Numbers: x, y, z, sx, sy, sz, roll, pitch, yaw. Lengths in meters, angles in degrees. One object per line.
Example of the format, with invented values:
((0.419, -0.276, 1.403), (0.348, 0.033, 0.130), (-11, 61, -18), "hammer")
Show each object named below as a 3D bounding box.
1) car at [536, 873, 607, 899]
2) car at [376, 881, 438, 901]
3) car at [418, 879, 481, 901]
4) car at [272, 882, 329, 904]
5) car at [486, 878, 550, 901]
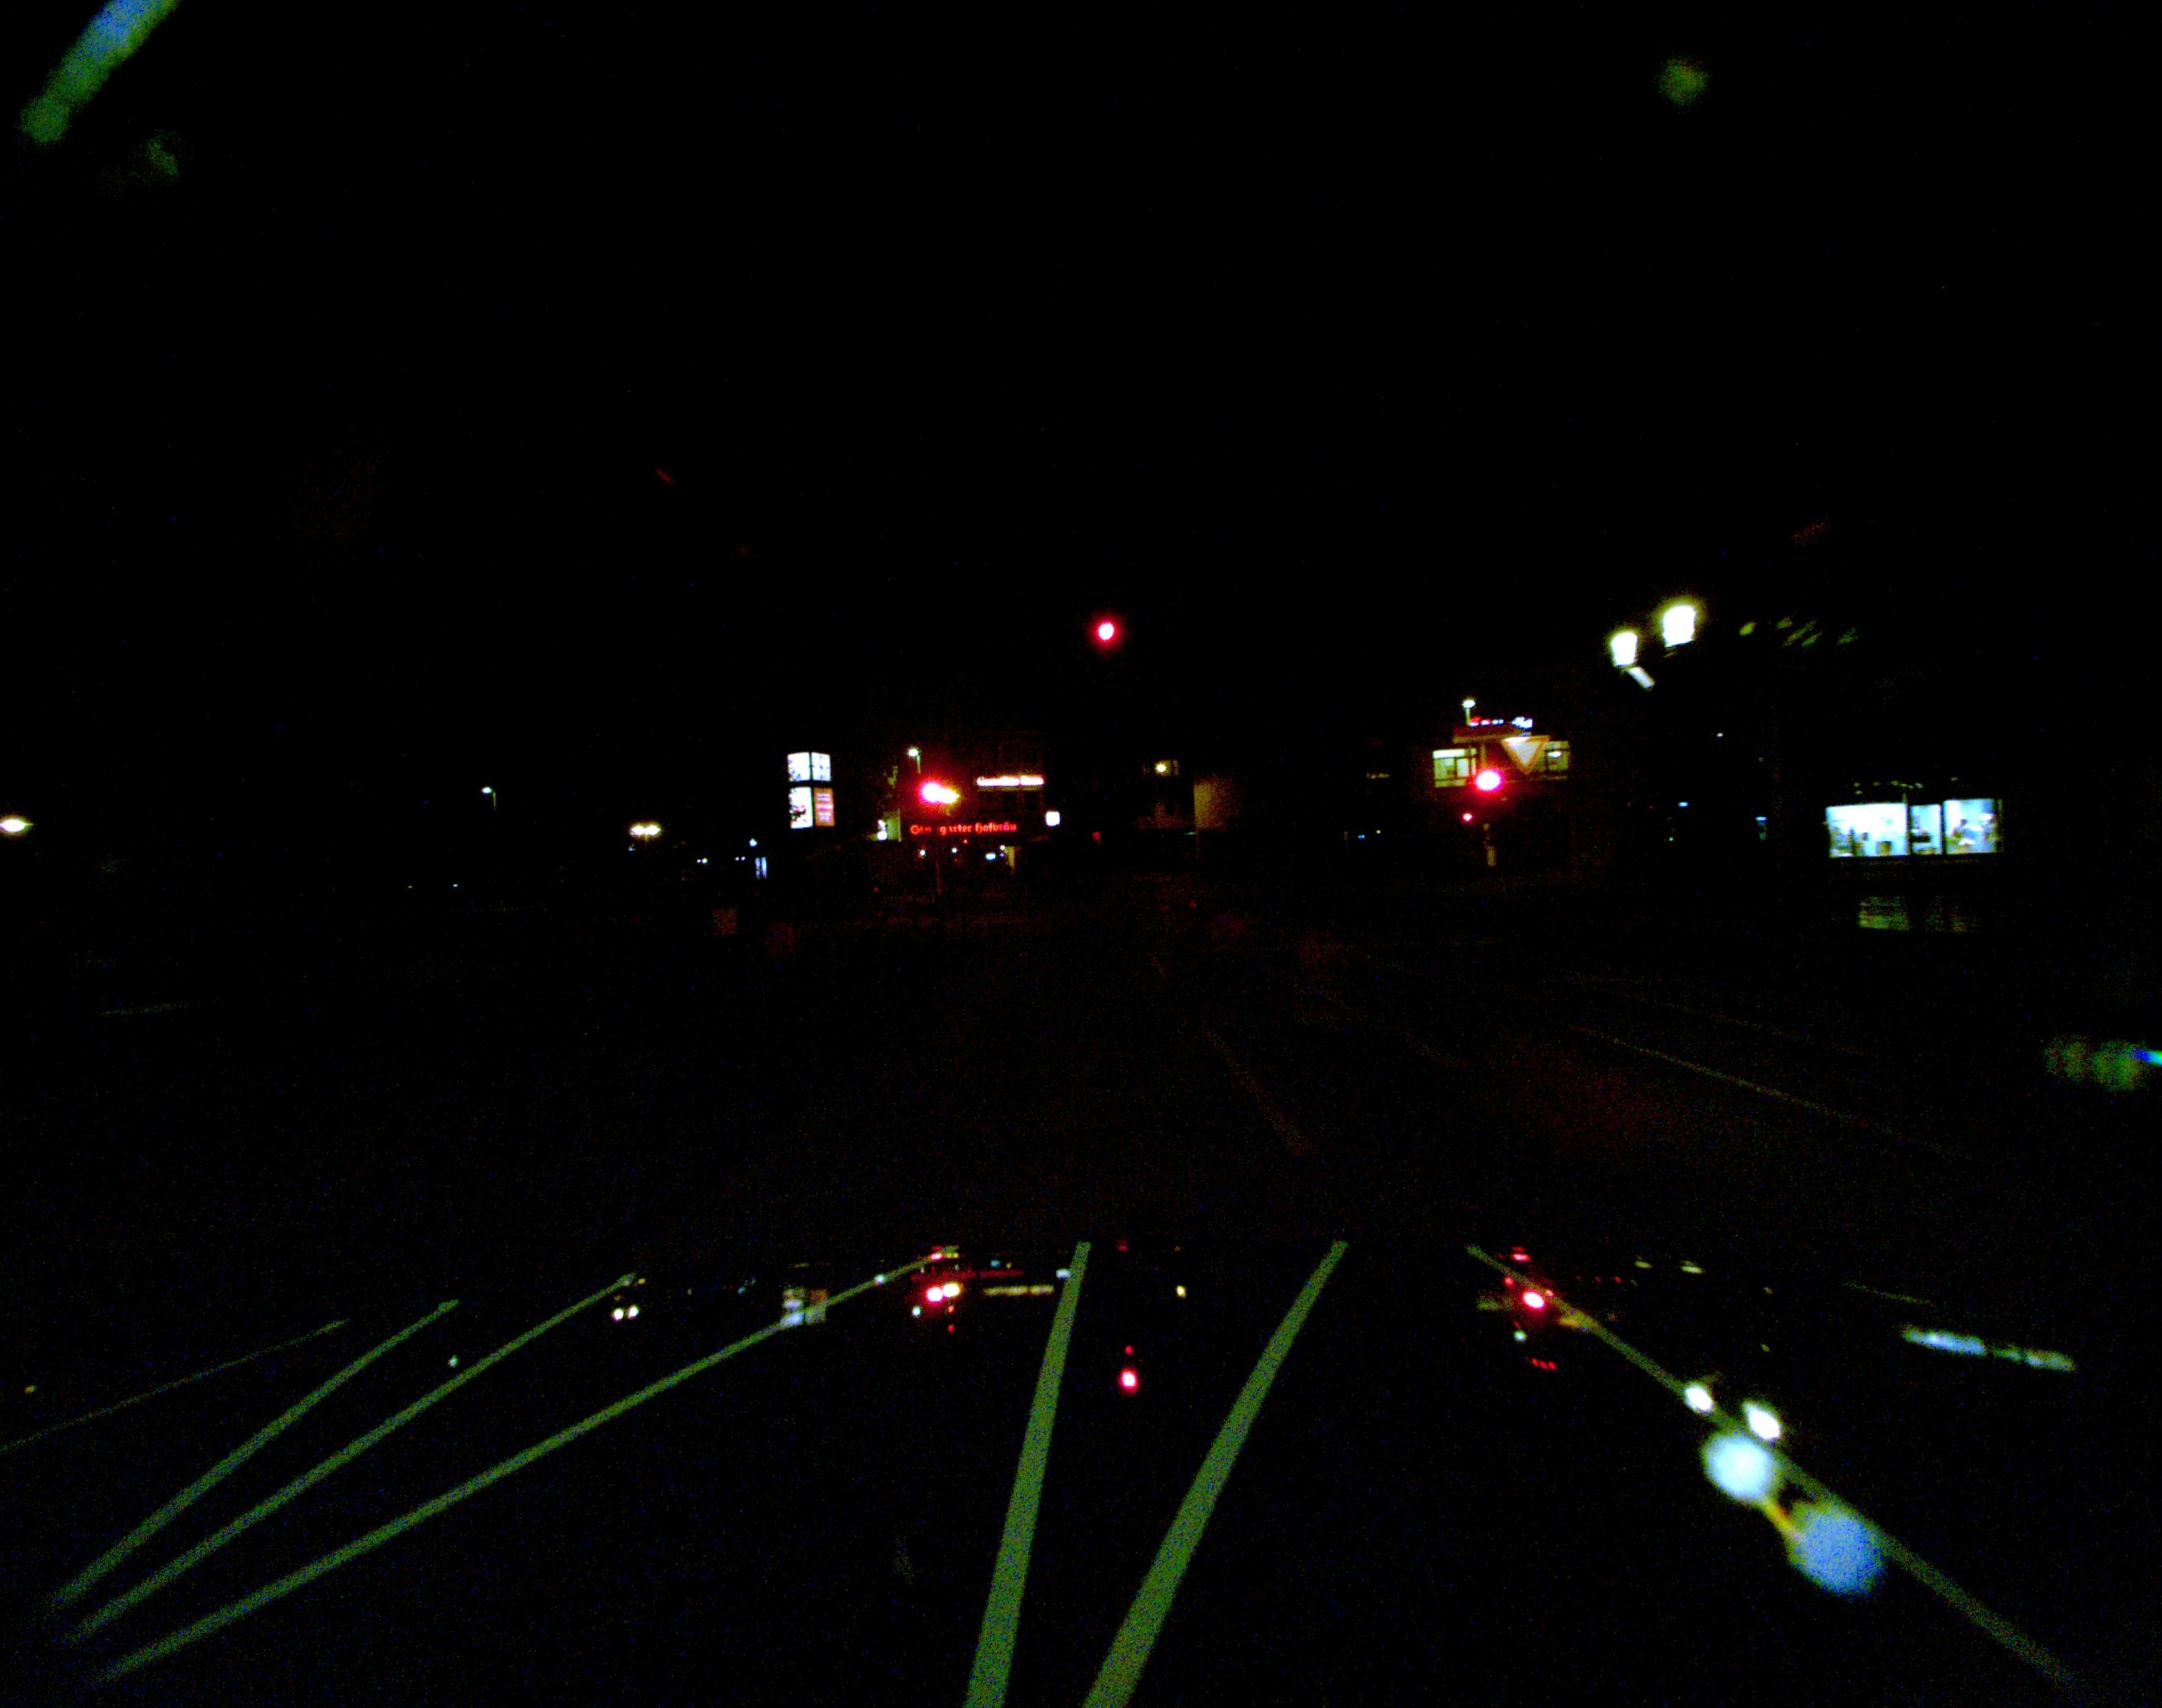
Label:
((-34.616, 2.165, 51.627), (3.856, 1.643, 1.877), (-2, -1, 15), "car")
((-50.960, 2.795, 57.440), (3.886, 1.444, 1.898), (-2, -1, 22), "car")
((-46.320, 2.628, 55.740), (3.886, 1.444, 1.898), (-2, -1, 22), "car")
((-63.464, 3.184, 61.791), (3.886, 1.616, 2.017), (-2, -1, 24), "car")
((-39.299, 2.492, 53.053), (3.886, 1.444, 1.898), (-2, -1, 24), "car")
